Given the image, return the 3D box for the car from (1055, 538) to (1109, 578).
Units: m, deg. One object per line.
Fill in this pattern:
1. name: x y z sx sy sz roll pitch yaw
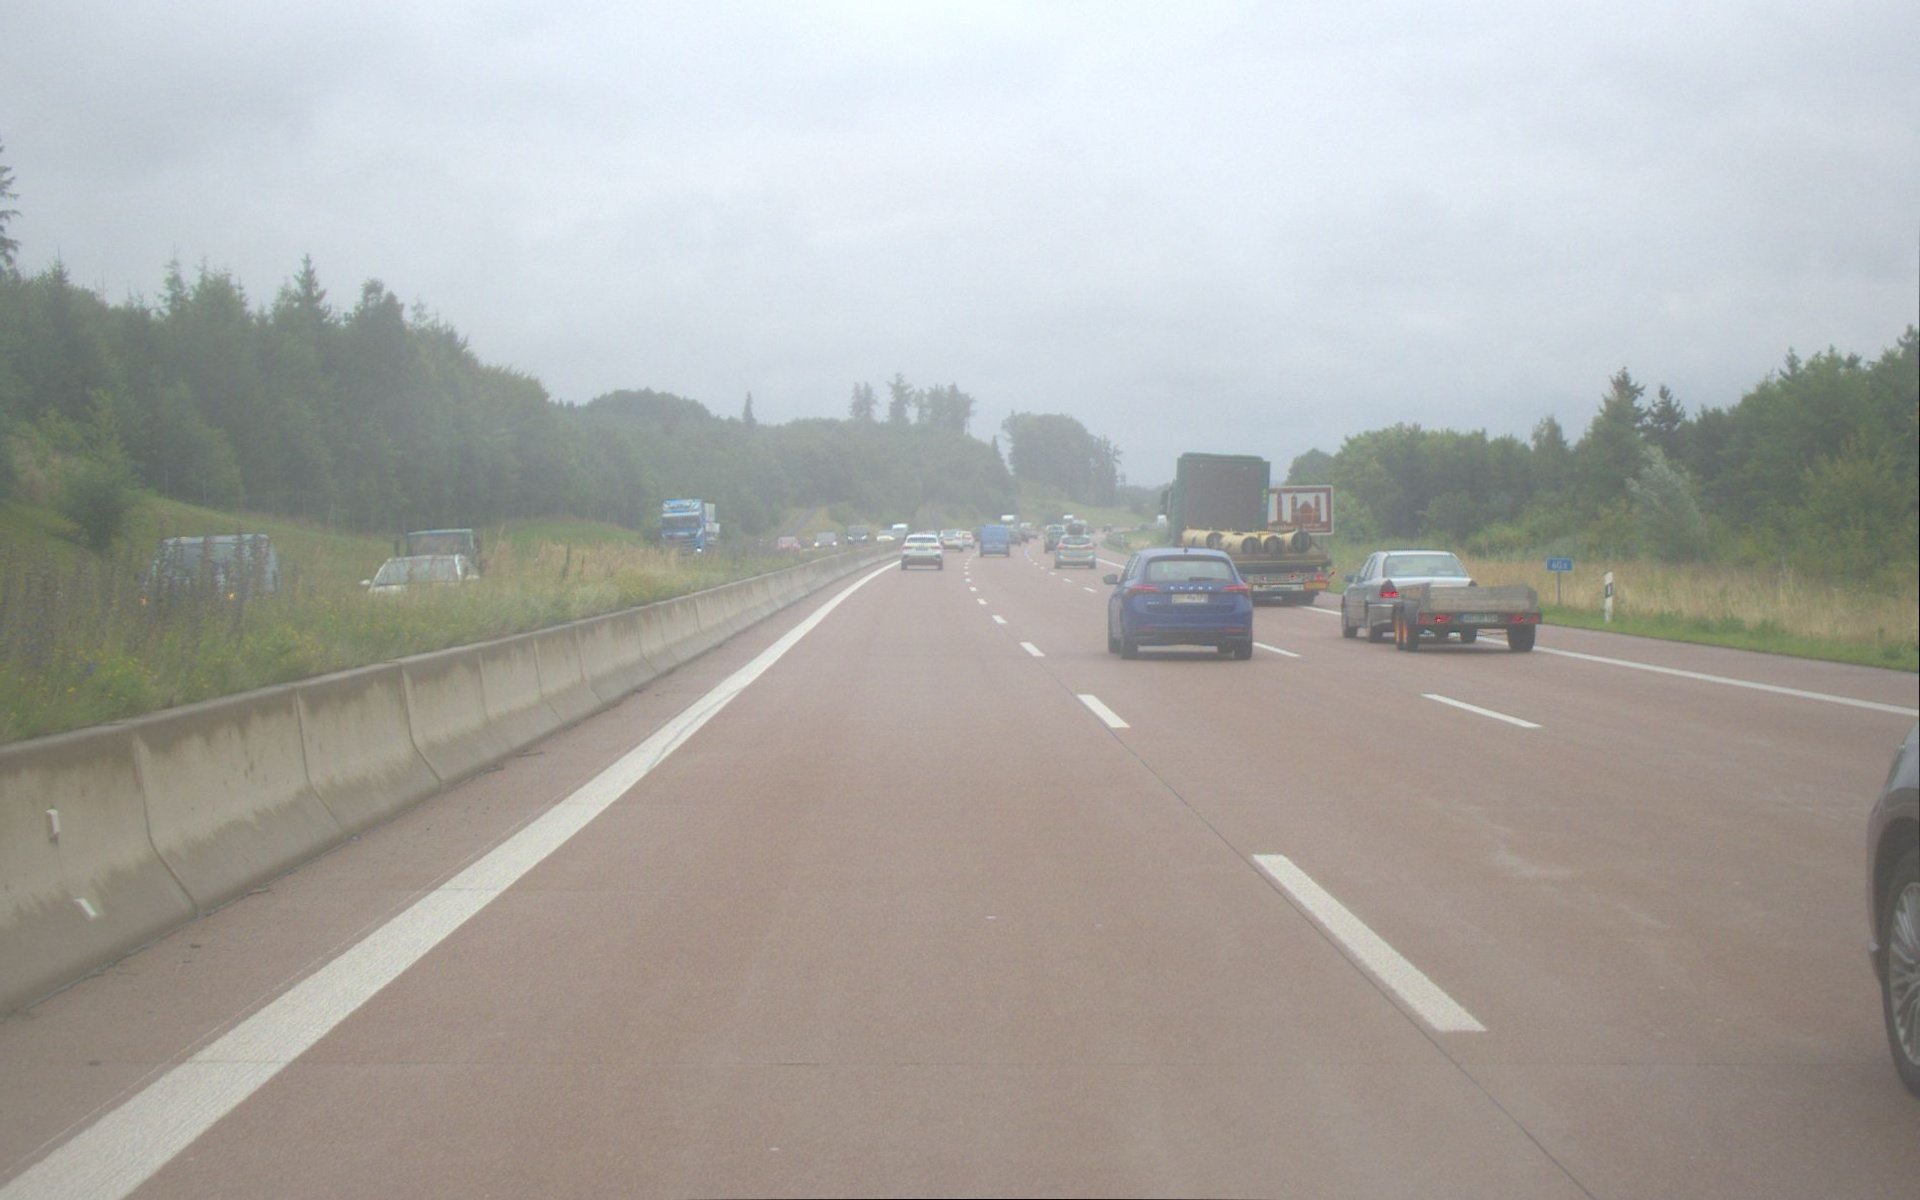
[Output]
1. car: 5.512 -1.908 156.058 2.322 1.744 4.877 1 0 1

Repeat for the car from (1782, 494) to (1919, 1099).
1. car: 3.558 0.532 7.503 1.993 1.587 5.820 1 0 -1

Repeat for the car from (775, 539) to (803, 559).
1. car: -12.318 -3.667 247.974 1.818 1.365 5.115 1 0 -1

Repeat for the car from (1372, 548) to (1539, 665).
1. car: 7.174 0.074 50.166 1.698 1.606 4.977 0 0 0

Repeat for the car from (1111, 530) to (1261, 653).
1. car: 2.999 -0.114 46.354 1.771 1.558 4.146 1 0 1

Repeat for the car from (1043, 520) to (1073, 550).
1. car: 6.903 -4.575 242.968 1.993 2.007 4.000 1 0 0

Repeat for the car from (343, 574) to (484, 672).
1. car: -9.282 0.374 58.669 1.842 1.597 3.846 1 0 -1

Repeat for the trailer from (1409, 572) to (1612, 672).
1. trailer: 7.273 0.258 45.837 1.971 1.162 4.639 1 2 0

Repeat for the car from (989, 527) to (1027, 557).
1. car: 2.965 -3.575 212.963 2.322 1.744 4.877 1 0 1

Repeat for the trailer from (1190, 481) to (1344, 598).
1. trailer: 7.487 -1.419 85.283 2.881 2.666 11.398 1 0 1

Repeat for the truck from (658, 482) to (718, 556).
1. truck: -16.911 -5.101 214.219 2.964 4.305 7.650 -4 2 -1

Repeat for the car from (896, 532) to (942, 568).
1. car: -1.788 -2.187 149.973 1.874 1.439 4.877 1 2 1

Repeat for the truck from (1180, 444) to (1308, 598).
1. truck: 7.597 -2.054 92.746 2.897 3.951 6.989 1 0 0

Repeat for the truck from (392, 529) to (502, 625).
1. truck: -17.552 -0.790 117.905 2.863 3.161 6.495 1 0 -1
